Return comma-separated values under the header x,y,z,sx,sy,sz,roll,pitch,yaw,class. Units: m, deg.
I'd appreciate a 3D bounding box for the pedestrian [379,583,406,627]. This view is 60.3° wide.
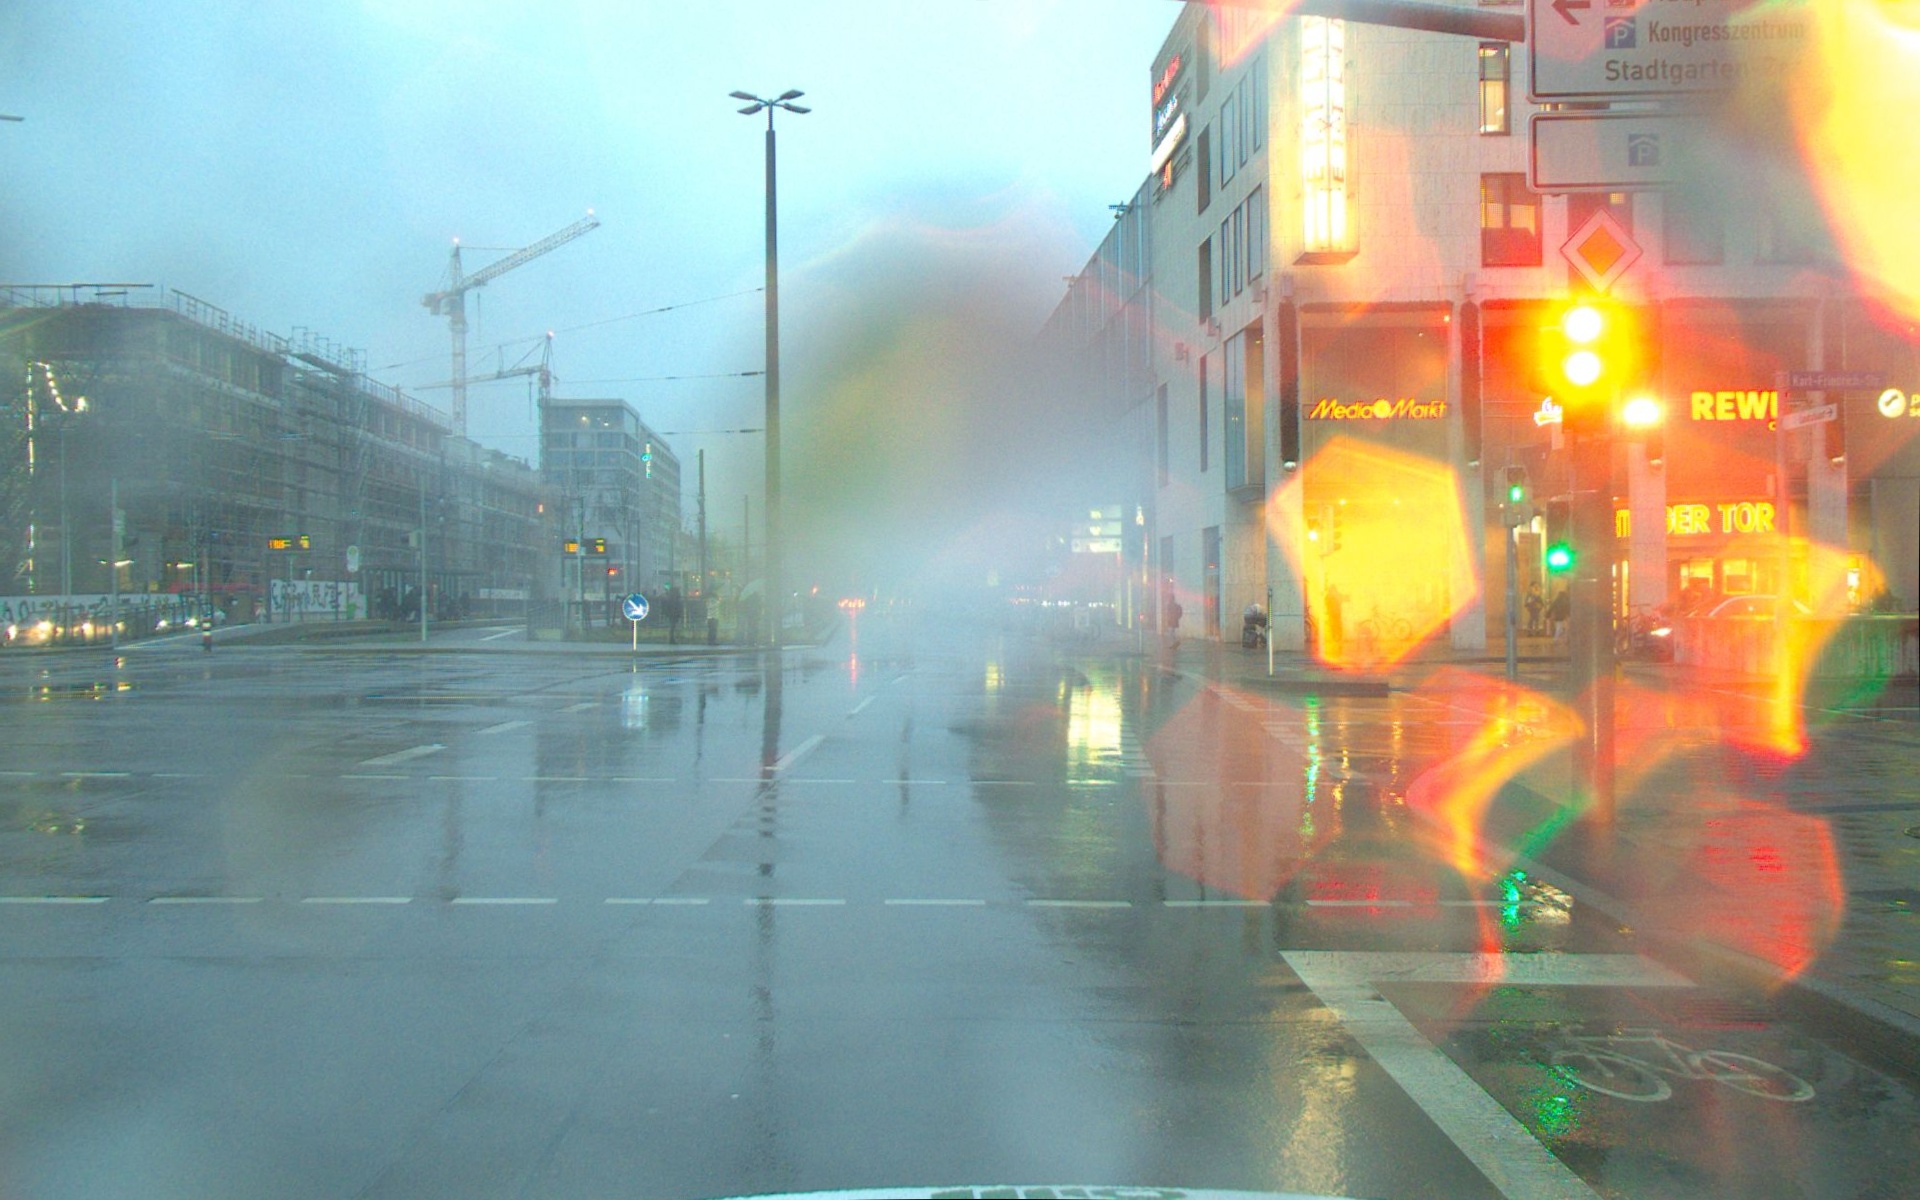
x,y,z,sx,sy,sz,roll,pitch,yaw,class
-26.818,0.222,78.141,0.923,2.049,1.093,1,-1,-4,pedestrian

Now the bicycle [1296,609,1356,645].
x,y,z,sx,sy,sz,roll,pitch,yaw,class
11.249,0.826,50.804,1.734,1.088,0.523,1,-1,-9,bicycle

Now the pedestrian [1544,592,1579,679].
x,y,z,sx,sy,sz,roll,pitch,yaw,class
17.333,1.022,47.657,0.700,2.484,0.758,1,-1,-1,pedestrian

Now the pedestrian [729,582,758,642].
x,y,z,sx,sy,sz,roll,pitch,yaw,class
-6.270,0.342,47.855,0.601,1.715,0.575,0,-1,41,pedestrian

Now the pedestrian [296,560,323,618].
x,y,z,sx,sy,sz,roll,pitch,yaw,class
-26.861,-0.443,68.337,0.750,2.364,0.762,1,-2,-1,pedestrian

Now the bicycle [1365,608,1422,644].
x,y,z,sx,sy,sz,roll,pitch,yaw,class
13.363,0.794,50.978,1.614,1.088,0.524,1,-1,-5,bicycle

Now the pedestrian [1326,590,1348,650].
x,y,z,sx,sy,sz,roll,pitch,yaw,class
11.375,0.594,49.889,0.587,1.775,0.525,1,-1,7,pedestrian

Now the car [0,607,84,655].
x,y,z,sx,sy,sz,roll,pitch,yaw,class
-37.158,1.233,66.759,1.830,1.860,3.993,1,0,-8,car

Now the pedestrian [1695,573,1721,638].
x,y,z,sx,sy,sz,roll,pitch,yaw,class
21.495,0.152,47.518,0.540,1.858,0.361,-1,-1,0,pedestrian

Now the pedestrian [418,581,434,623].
x,y,z,sx,sy,sz,roll,pitch,yaw,class
-25.944,0.079,80.358,0.559,2.002,0.664,2,-1,-7,pedestrian

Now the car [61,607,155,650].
x,y,z,sx,sy,sz,roll,pitch,yaw,class
-37.613,1.218,73.115,1.952,1.822,4.001,1,0,2,car

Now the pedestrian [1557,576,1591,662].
x,y,z,sx,sy,sz,roll,pitch,yaw,class
18.024,0.553,48.568,0.675,2.484,0.758,1,-1,-1,pedestrian

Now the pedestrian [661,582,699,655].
x,y,z,sx,sy,sz,roll,pitch,yaw,class
-7.971,0.532,47.156,0.771,2.049,0.724,0,-1,41,pedestrian

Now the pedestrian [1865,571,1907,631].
x,y,z,sx,sy,sz,roll,pitch,yaw,class
26.870,0.037,48.003,0.875,1.714,0.528,-1,-1,-1,pedestrian

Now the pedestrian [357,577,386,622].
x,y,z,sx,sy,sz,roll,pitch,yaw,class
-26.848,-0.024,75.477,0.923,2.049,1.094,1,-1,0,pedestrian

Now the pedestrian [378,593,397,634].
x,y,z,sx,sy,sz,roll,pitch,yaw,class
-26.507,0.623,76.577,0.684,1.913,0.553,1,-1,-2,pedestrian

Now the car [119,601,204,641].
x,y,z,sx,sy,sz,roll,pitch,yaw,class
-37.933,0.976,78.660,1.952,1.822,4.001,1,0,2,car

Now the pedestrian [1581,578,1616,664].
x,y,z,sx,sy,sz,roll,pitch,yaw,class
18.755,0.615,48.597,0.679,2.491,0.791,1,-1,-1,pedestrian

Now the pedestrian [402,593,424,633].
x,y,z,sx,sy,sz,roll,pitch,yaw,class
-26.221,0.630,79.264,0.750,1.931,0.762,1,-2,-1,pedestrian

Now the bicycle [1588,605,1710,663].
x,y,z,sx,sy,sz,roll,pitch,yaw,class
17.200,0.847,41.312,2.659,1.383,0.957,-1,-1,-4,bicycle

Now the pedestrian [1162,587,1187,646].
x,y,z,sx,sy,sz,roll,pitch,yaw,class
6.355,0.489,49.015,0.624,1.739,0.573,-1,0,-2,pedestrian

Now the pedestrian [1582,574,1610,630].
x,y,z,sx,sy,sz,roll,pitch,yaw,class
20.076,0.076,52.220,0.721,1.748,0.738,-1,-1,27,pedestrian

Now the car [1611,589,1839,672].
x,y,z,sx,sy,sz,roll,pitch,yaw,class
16.147,0.628,35.036,3.905,1.646,2.000,1,0,0,car

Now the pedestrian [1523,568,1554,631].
x,y,z,sx,sy,sz,roll,pitch,yaw,class
19.040,-0.031,54.472,0.828,2.049,0.698,-1,0,8,pedestrian

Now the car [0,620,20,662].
x,y,z,sx,sy,sz,roll,pitch,yaw,class
-36.407,1.531,60.496,2.038,1.557,4.604,-1,0,-10,car

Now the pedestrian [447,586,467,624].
x,y,z,sx,sy,sz,roll,pitch,yaw,class
-27.624,0.264,90.863,0.925,2.049,1.091,1,-1,-11,pedestrian

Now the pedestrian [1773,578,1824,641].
x,y,z,sx,sy,sz,roll,pitch,yaw,class
23.520,0.264,46.416,1.009,1.713,0.824,1,-1,-1,pedestrian

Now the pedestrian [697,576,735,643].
x,y,z,sx,sy,sz,roll,pitch,yaw,class
-6.844,0.265,46.369,0.813,1.863,0.777,1,-1,-31,pedestrian
